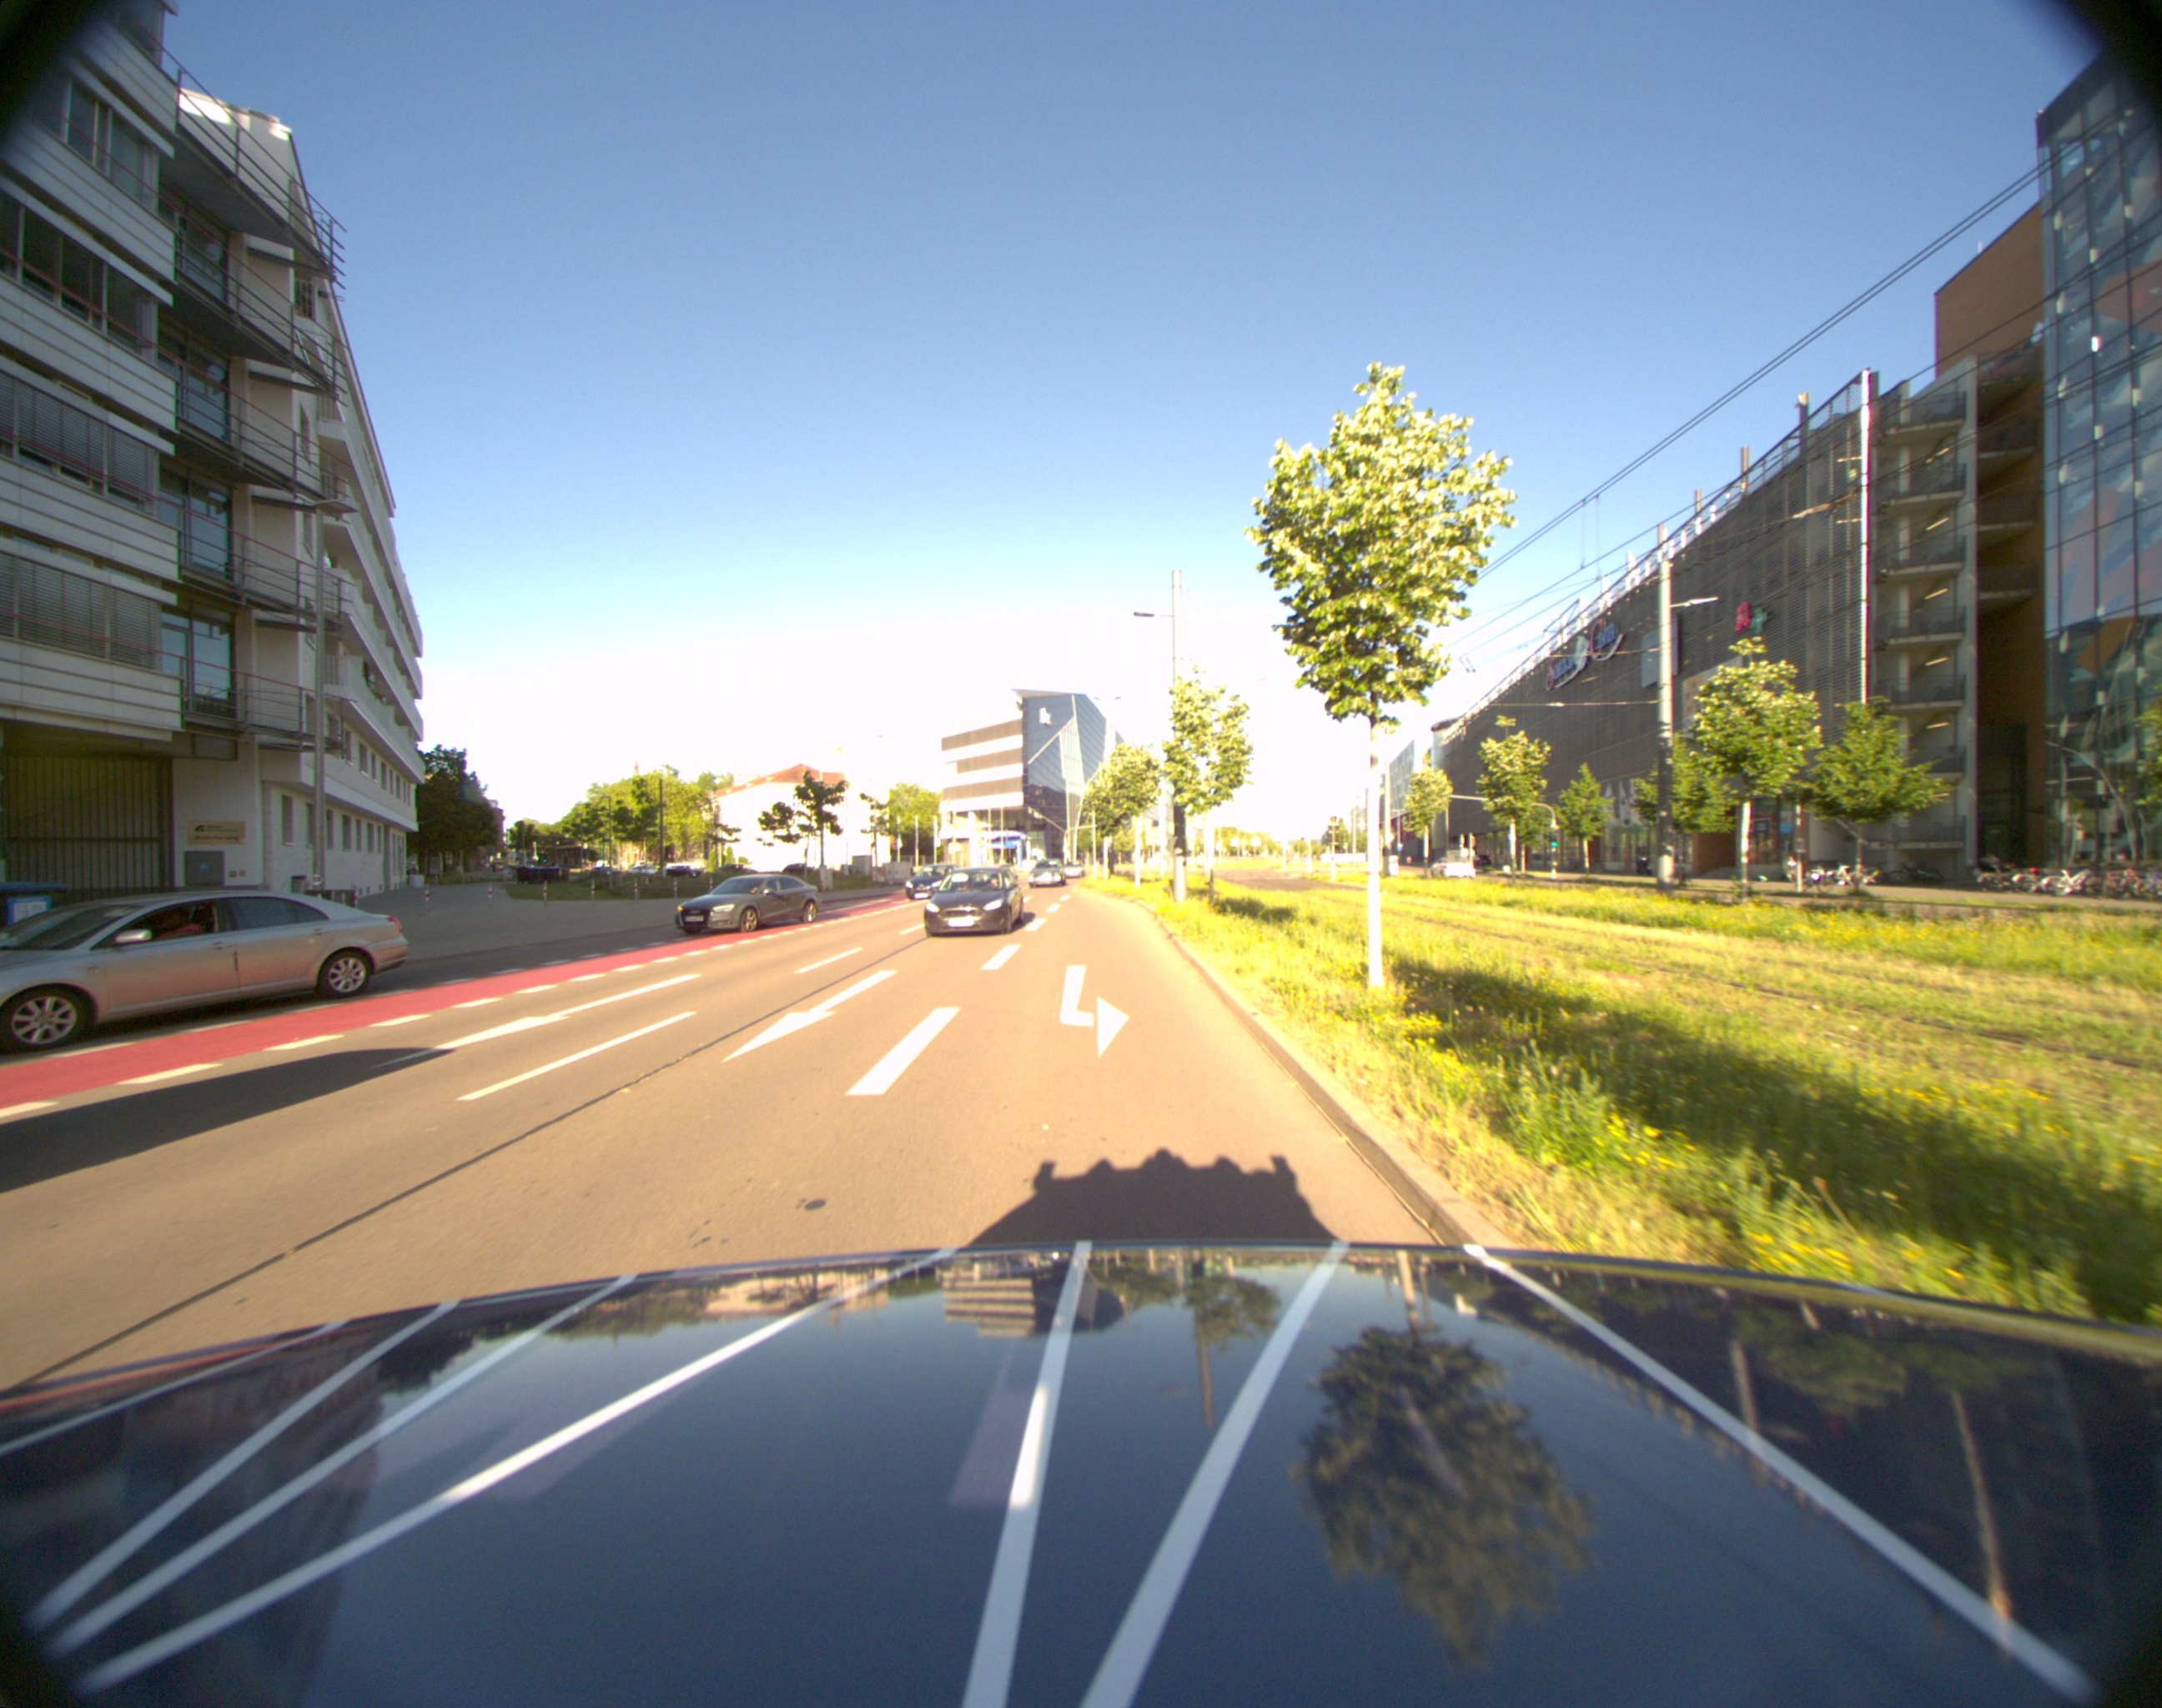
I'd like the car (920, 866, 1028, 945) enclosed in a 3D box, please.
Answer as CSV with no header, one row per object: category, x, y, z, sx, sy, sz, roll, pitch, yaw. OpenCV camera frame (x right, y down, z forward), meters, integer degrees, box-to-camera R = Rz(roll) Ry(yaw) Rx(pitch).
car,-2.293,1.058,17.313,1.689,1.425,4.153,-2,0,2

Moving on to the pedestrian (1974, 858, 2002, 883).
pedestrian,38.771,0.713,32.491,0.629,1.048,0.450,-1,1,12

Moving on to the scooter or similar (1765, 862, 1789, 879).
scooter or similar,36.701,0.861,40.043,0.291,0.888,0.899,-1,1,-38

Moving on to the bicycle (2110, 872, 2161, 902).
bicycle,33.870,1.043,23.923,1.768,0.921,0.565,-1,1,15

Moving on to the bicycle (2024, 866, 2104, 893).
bicycle,34.520,0.903,26.695,1.768,0.921,0.491,-1,1,15

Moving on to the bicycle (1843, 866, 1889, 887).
bicycle,35.348,1.007,34.211,1.398,0.921,0.462,-1,1,15

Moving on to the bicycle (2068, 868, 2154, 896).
bicycle,34.254,0.931,25.286,1.768,0.921,0.491,-1,1,15

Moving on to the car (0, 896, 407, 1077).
car,-10.582,1.318,8.571,1.754,1.423,4.490,-1,0,4

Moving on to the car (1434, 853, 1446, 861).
car,58.715,0.493,124.317,1.688,1.364,3.596,-1,0,24

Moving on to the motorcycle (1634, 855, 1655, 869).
motorcycle,39.623,0.541,53.448,0.428,0.914,2.027,-1,0,14

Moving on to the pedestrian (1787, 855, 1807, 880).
pedestrian,36.246,0.674,38.475,0.448,1.282,0.630,-1,1,12

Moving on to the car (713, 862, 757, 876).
car,-37.019,1.623,81.356,3.991,1.414,2.003,-1,0,18

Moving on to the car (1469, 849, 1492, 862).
car,50.082,0.159,95.289,1.582,1.521,3.753,-2,0,11

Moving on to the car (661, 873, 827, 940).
car,-8.577,1.283,19.774,1.712,1.433,4.116,-1,0,15

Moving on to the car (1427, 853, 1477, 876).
car,23.226,0.618,47.725,1.809,1.320,4.409,0,0,12

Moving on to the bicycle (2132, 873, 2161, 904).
bicycle,33.652,1.054,23.264,1.768,0.921,0.565,-1,1,15

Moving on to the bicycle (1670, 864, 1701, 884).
bicycle,29.474,0.985,37.068,0.386,0.918,1.773,-1,0,12

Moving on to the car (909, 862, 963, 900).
car,-6.422,1.158,33.947,1.736,1.437,3.999,-2,0,-2

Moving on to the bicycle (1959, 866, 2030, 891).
bicycle,35.069,0.947,29.185,1.768,0.921,0.491,-1,1,15

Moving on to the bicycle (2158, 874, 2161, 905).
bicycle,33.486,1.063,22.573,1.768,0.921,0.565,-1,1,15

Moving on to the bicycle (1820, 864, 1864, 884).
bicycle,35.678,0.952,35.622,1.398,0.921,0.462,-1,1,15

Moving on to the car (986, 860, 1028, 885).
car,-4.494,1.112,46.724,1.438,1.437,4.004,0,0,12

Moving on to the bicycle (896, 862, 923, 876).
bicycle,-16.517,1.435,73.310,2.368,1.304,0.952,-1,1,12

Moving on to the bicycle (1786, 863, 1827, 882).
bicycle,35.381,0.906,37.045,1.398,0.921,0.462,-1,1,15

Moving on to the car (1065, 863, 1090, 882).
car,-0.283,1.506,63.695,1.620,1.421,3.769,-2,0,6

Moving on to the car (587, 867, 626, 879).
car,-56.090,2.215,89.800,3.990,1.368,1.938,-1,0,25

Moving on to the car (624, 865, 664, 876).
car,-49.616,1.857,86.268,3.990,1.237,2.003,-1,0,24

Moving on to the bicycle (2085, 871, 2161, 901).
bicycle,34.035,1.034,24.665,1.768,0.921,0.565,-1,1,15

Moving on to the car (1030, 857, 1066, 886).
car,-1.867,0.927,42.454,1.750,1.496,3.878,-1,0,-6

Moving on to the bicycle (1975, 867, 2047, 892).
bicycle,34.931,0.965,28.555,1.768,0.921,0.491,-1,1,15

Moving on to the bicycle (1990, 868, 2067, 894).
bicycle,34.755,0.974,27.895,1.768,0.921,0.565,-1,1,15

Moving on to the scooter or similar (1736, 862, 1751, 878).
scooter or similar,38.054,0.929,43.661,0.290,0.888,0.902,-1,0,16

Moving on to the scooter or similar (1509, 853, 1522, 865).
scooter or similar,38.681,0.444,67.588,0.436,1.036,1.363,-2,0,4

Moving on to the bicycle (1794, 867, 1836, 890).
bicycle,30.710,1.013,31.823,0.386,0.863,1.773,-1,0,12

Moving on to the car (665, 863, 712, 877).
car,-43.260,1.751,83.712,4.515,1.414,2.003,-1,0,20
